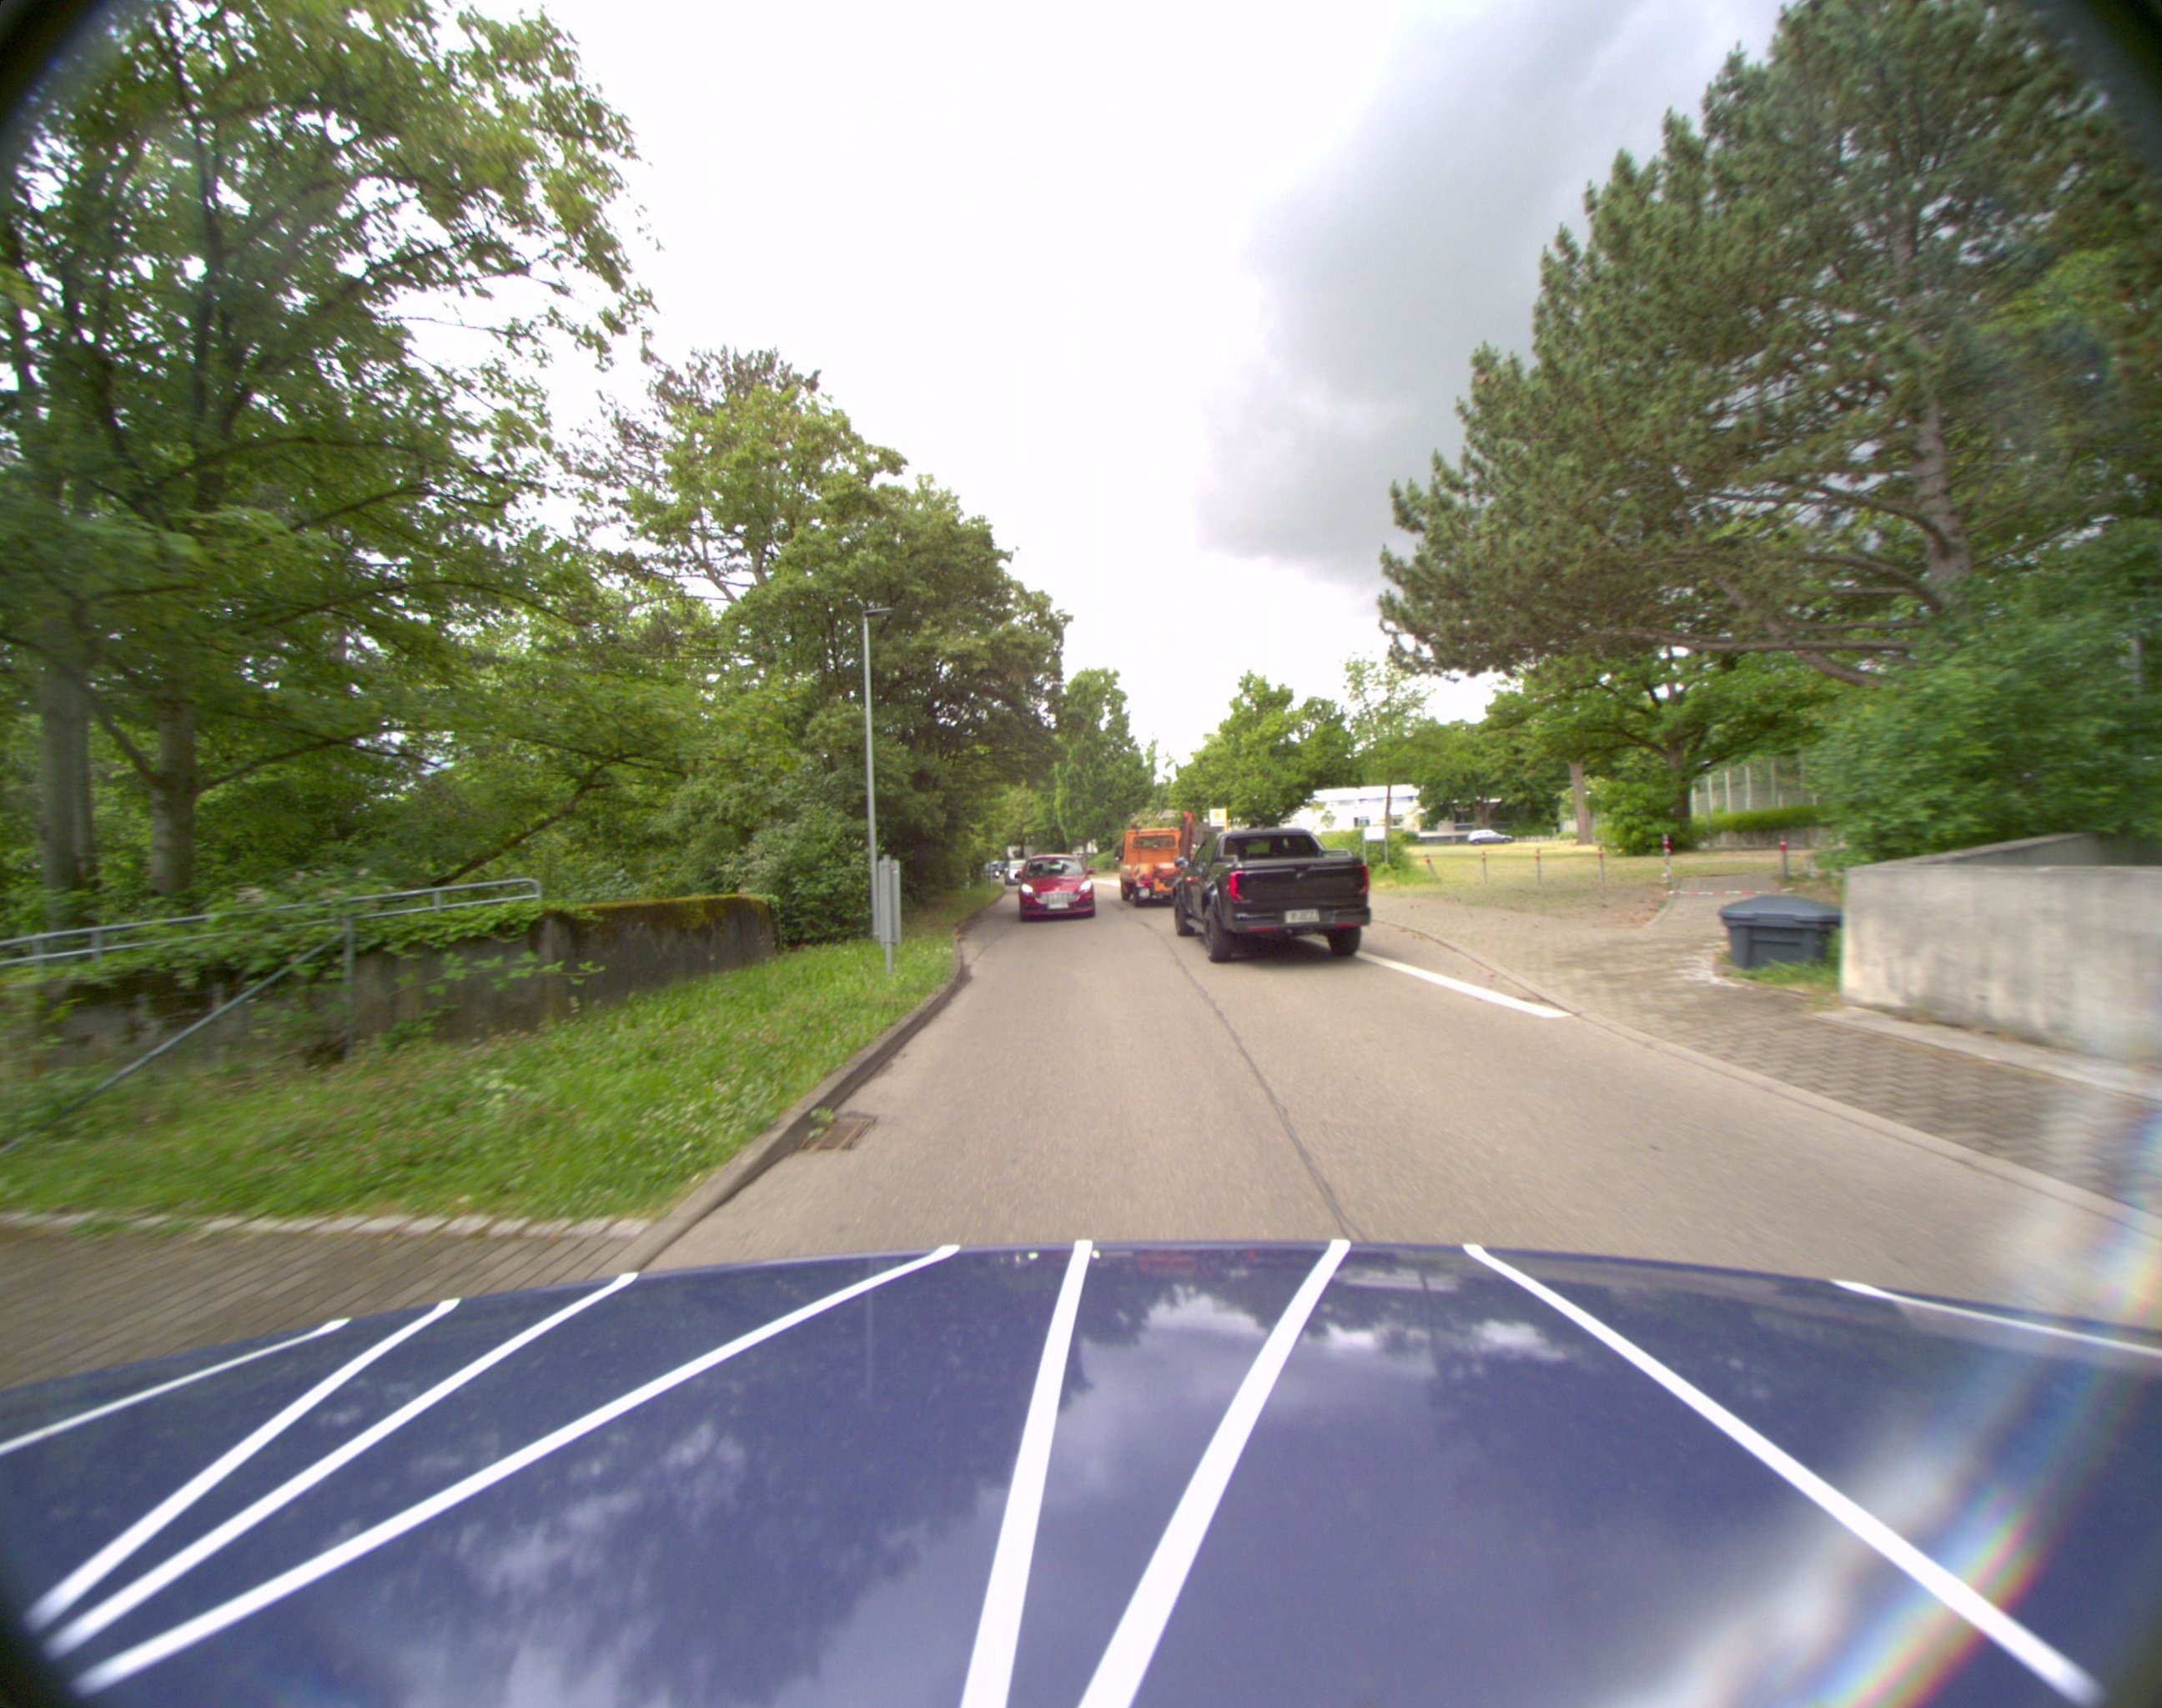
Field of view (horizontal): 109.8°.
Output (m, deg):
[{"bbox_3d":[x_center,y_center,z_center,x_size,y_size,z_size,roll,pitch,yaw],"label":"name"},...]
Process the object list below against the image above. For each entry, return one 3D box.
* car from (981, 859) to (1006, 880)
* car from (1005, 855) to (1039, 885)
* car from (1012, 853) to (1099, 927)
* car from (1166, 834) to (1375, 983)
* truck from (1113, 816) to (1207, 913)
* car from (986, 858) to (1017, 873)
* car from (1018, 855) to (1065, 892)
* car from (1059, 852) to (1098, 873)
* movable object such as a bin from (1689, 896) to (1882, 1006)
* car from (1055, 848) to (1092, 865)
[{"bbox_3d":[-8.037,1.383,69.519,2.000,1.663,3.996,-4,1,-8],"label":"car"},{"bbox_3d":[-3.950,1.031,50.569,1.999,1.684,3.997,-4,1,-5],"label":"car"},{"bbox_3d":[-0.612,0.845,20.029,1.945,1.550,4.355,-4,1,0],"label":"car"},{"bbox_3d":[2.569,0.644,11.801,1.998,1.725,5.337,-2,0,2],"label":"car"},{"bbox_3d":[2.236,0.290,23.383,2.328,2.455,6.021,-4,0,2],"label":"truck"},{"bbox_3d":[-8.733,1.229,83.307,1.856,1.483,3.992,-4,0,-28],"label":"car"},{"bbox_3d":[-1.945,0.867,36.436,1.948,1.522,4.084,-4,1,-6],"label":"car"},{"bbox_3d":[-0.254,0.697,61.633,1.855,1.483,4.630,-3,0,-16],"label":"car"},{"bbox_3d":[6.428,0.833,6.945,1.149,0.756,1.047,-5,2,-35],"label":"movable object such as a bin"},{"bbox_3d":[-0.874,0.305,88.254,3.803,1.629,2.003,-3,2,28],"label":"car"}]
